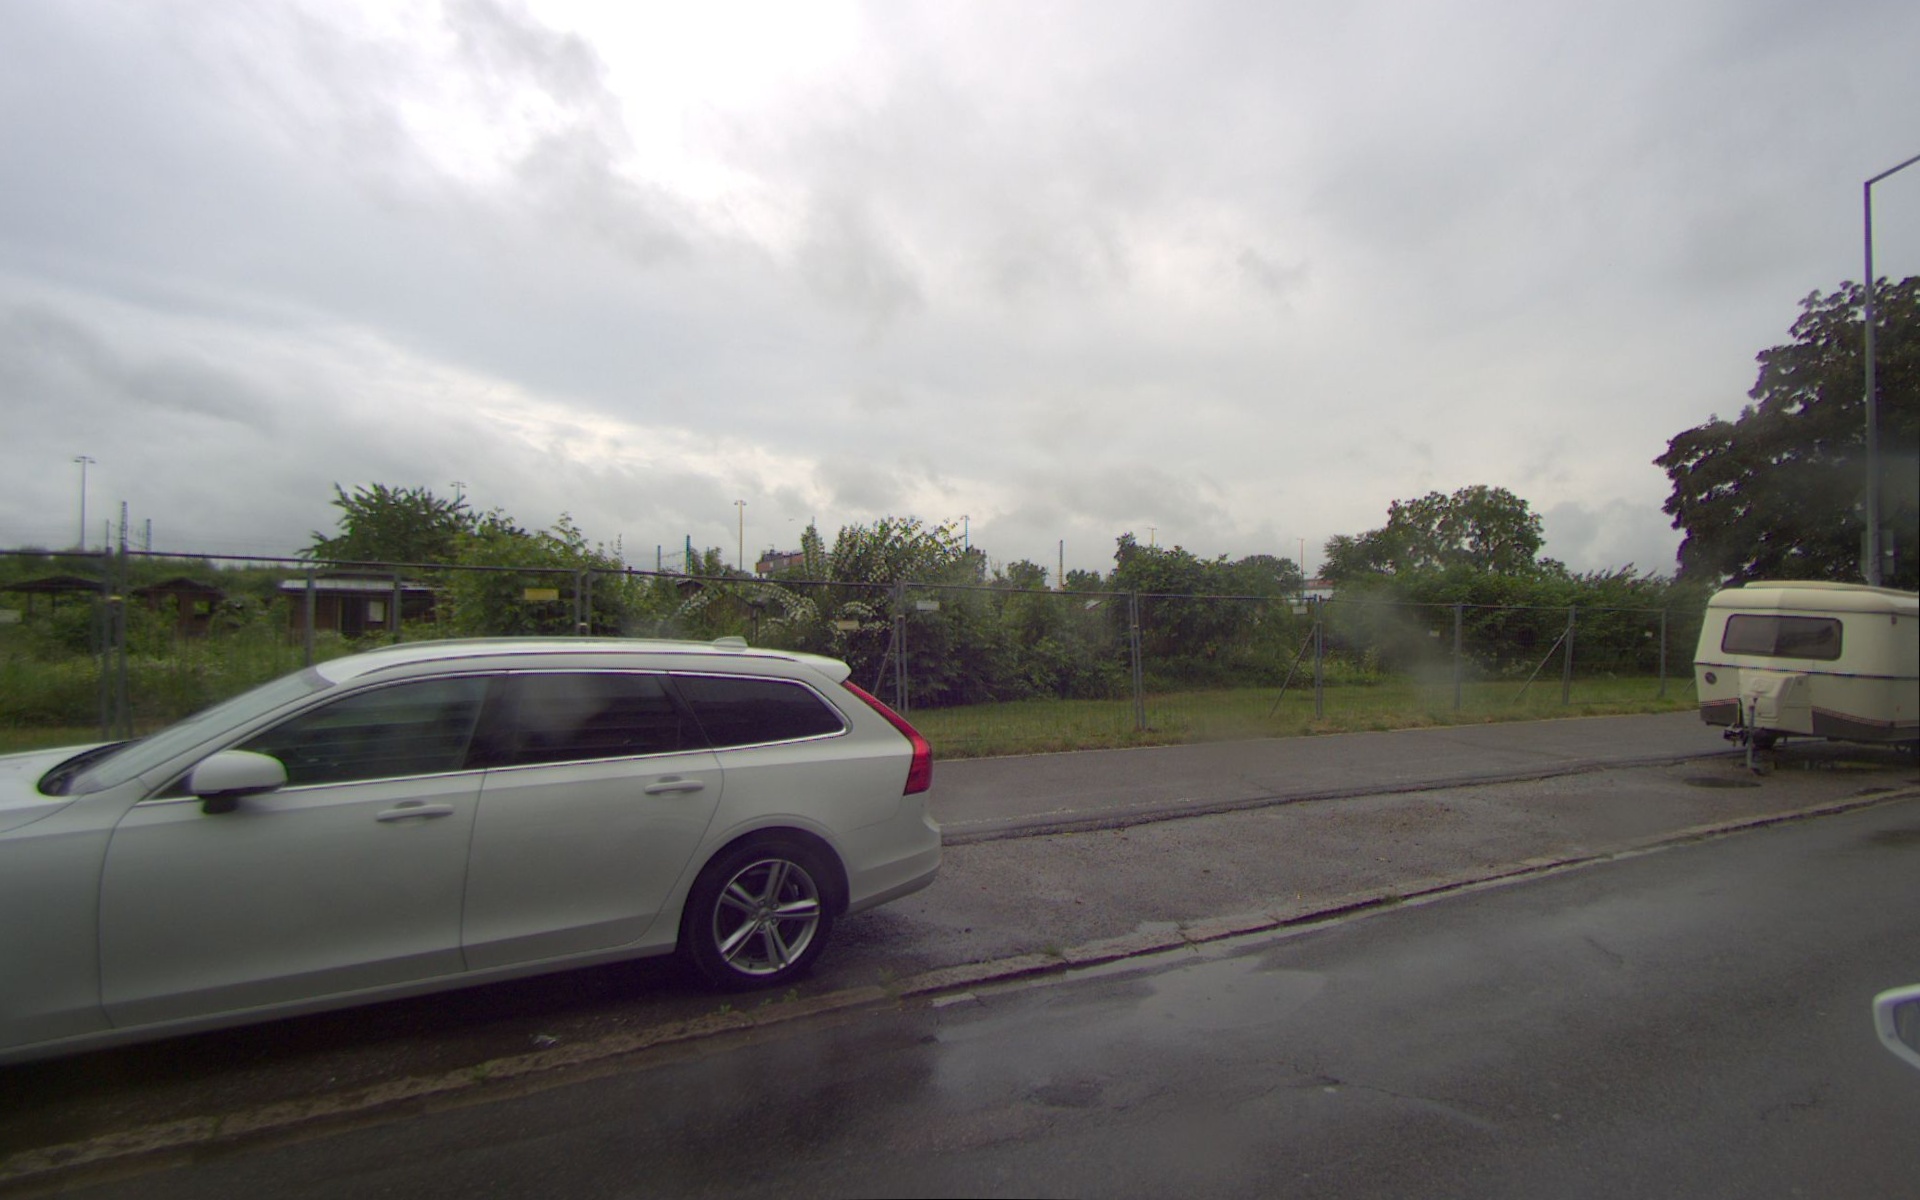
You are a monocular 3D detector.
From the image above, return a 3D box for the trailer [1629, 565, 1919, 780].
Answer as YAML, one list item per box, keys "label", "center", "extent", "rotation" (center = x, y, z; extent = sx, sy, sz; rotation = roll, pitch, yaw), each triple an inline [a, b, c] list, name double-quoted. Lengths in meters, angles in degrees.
- label: "trailer"
  center: [11.131, 0.816, 12.896]
  extent: [5.731, 2.247, 2.047]
  rotation: [2, 0, -32]

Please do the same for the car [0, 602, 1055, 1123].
- label: "car"
  center: [-2.160, 0.832, 4.561]
  extent: [5.052, 1.546, 1.877]
  rotation: [2, -1, -32]
